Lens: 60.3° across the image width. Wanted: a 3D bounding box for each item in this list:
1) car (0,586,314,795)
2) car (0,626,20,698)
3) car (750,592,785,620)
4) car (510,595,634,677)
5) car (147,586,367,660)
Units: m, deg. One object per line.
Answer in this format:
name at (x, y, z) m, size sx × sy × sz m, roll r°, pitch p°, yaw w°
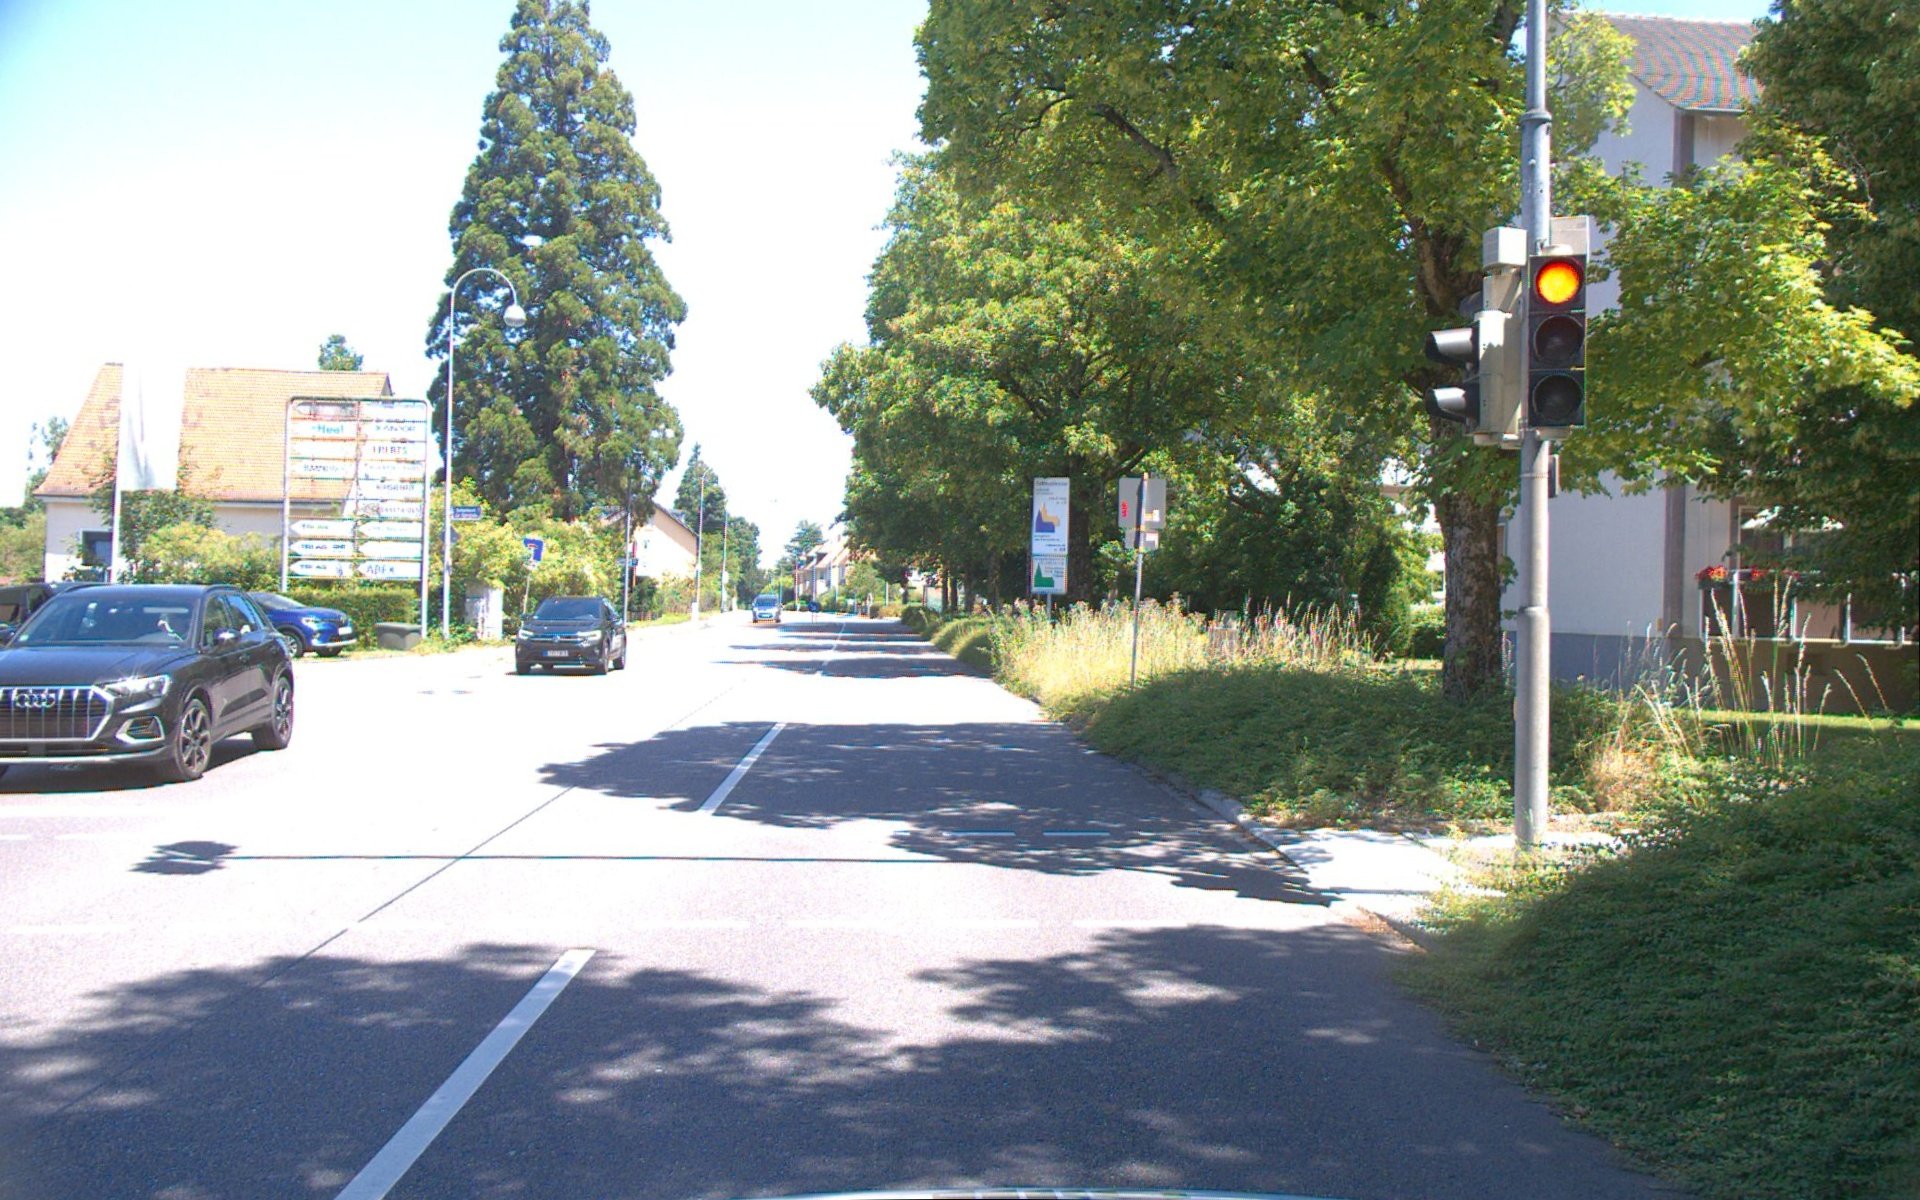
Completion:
car at (-7.284, 0.682, 14.674) m, size 1.890 × 1.582 × 4.295 m, roll 0°, pitch 0°, yaw -8°
car at (-24.598, 1.536, 40.063) m, size 1.775 × 1.752 × 4.081 m, roll 1°, pitch 0°, yaw -8°
car at (-12.548, 0.378, 108.072) m, size 1.774 × 1.793 × 4.569 m, roll 2°, pitch 0°, yaw -1°
car at (-7.697, 0.673, 33.139) m, size 1.832 × 1.533 × 4.049 m, roll 0°, pitch 0°, yaw -5°
car at (-15.209, 0.489, 35.871) m, size 4.047 × 1.531 × 1.779 m, roll 0°, pitch 0°, yaw 8°
